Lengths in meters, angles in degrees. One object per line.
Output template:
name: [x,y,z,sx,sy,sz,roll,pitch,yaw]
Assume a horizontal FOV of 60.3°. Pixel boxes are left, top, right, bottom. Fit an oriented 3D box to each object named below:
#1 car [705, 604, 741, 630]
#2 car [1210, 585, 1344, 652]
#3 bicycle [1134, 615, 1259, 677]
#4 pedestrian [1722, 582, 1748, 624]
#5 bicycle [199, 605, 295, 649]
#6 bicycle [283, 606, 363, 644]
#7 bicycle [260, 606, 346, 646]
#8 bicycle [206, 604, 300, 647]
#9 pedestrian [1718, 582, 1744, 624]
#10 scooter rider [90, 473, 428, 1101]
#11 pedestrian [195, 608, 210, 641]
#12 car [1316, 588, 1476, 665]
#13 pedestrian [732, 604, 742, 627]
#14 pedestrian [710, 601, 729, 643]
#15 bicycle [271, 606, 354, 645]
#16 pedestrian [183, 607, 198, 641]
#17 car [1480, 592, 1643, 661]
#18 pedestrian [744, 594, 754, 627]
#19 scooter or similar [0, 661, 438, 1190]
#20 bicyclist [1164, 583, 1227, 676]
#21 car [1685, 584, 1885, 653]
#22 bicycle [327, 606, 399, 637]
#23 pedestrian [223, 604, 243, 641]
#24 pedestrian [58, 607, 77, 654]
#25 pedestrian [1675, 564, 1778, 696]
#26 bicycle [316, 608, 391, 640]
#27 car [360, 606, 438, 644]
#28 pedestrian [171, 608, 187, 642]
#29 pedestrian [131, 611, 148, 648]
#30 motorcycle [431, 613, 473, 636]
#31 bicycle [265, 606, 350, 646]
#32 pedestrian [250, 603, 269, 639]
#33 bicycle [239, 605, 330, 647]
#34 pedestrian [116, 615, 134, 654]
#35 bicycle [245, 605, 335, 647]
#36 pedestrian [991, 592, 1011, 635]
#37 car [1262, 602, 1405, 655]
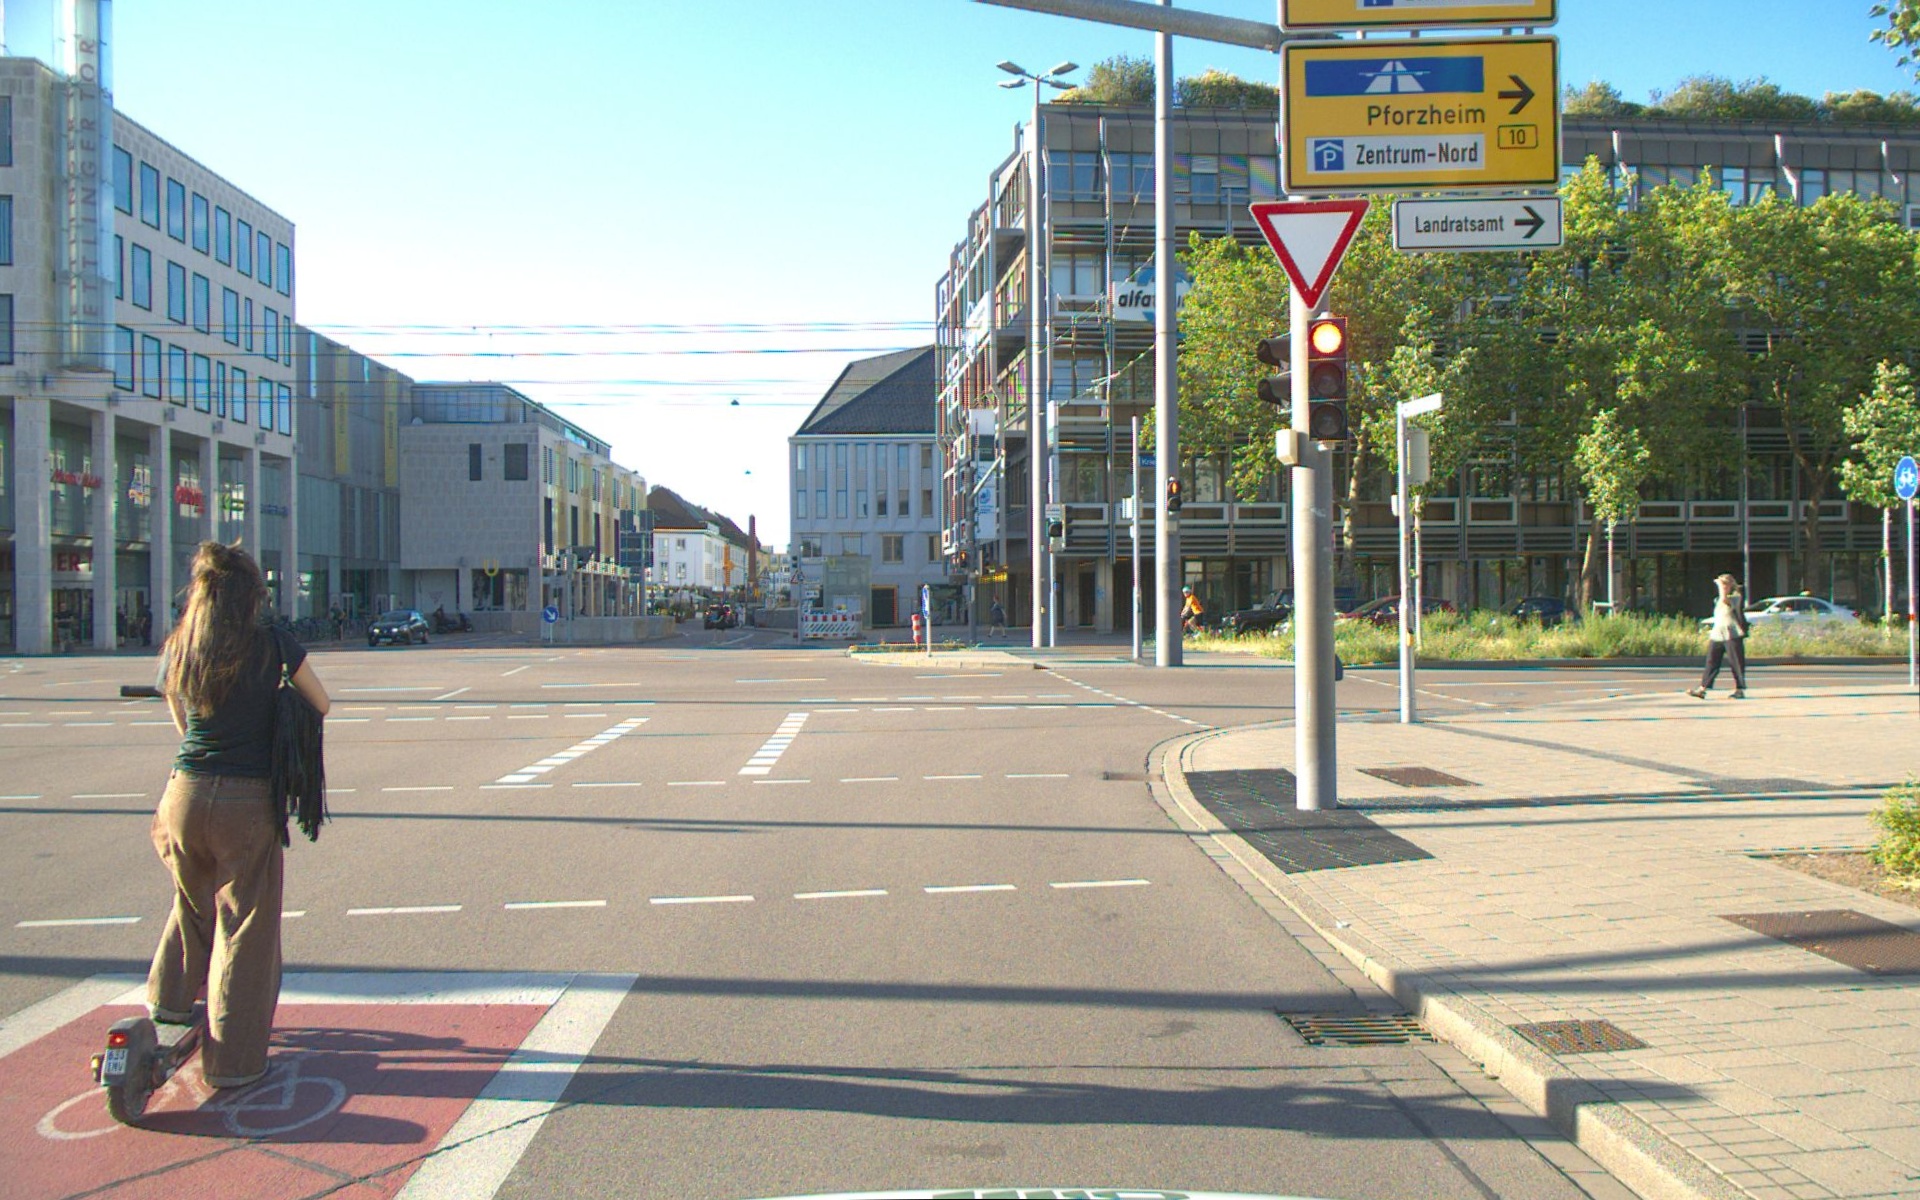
car: [-15.497,1.091,108.160,2.157,1.635,4.320,-1,0,-6]
car: [10.305,0.597,53.917,3.908,2.049,1.999,1,0,-3]
bicycle: [6.749,1.301,47.220,3.427,1.688,0.929,-1,0,-10]
pedestrian: [31.134,0.122,66.471,0.651,1.687,0.740,-1,0,-8]
bicycle: [-29.321,1.110,68.029,3.427,1.726,1.114,-1,0,-10]
bicycle: [-30.337,1.184,78.864,3.430,1.726,0.984,-1,0,-12]
bicycle: [-29.573,1.165,74.490,3.430,1.726,0.984,-1,0,-12]
bicycle: [-29.548,1.063,69.185,3.427,1.726,1.114,-1,0,-10]
pedestrian: [31.345,0.129,67.240,0.651,1.687,0.740,-1,0,-8]
scooter rider: [-2.149,0.536,5.169,0.713,1.806,0.811,0,0,-1]
pedestrian: [-36.355,1.172,79.395,0.472,1.613,0.598,-1,0,-5]
car: [12.232,0.733,46.576,3.908,2.049,1.999,1,0,-3]
pedestrian: [-13.927,0.989,103.399,0.598,1.436,0.569,-1,0,-7]
pedestrian: [-9.625,0.882,66.194,0.650,1.687,0.755,-1,0,-4]
bicycle: [-30.038,1.175,76.778,3.430,1.726,0.984,-1,0,-12]
pedestrian: [-36.946,1.136,79.380,0.472,1.613,0.598,-1,0,-5]
car: [18.828,0.820,51.878,4.359,2.049,1.998,1,0,-6]
pedestrian: [-13.218,0.670,103.402,0.598,2.049,0.569,-1,0,-7]
scooter or similar: [-2.151,0.827,4.878,0.713,1.223,1.664,0,0,-1]
bicyclist: [6.719,0.832,47.221,1.539,2.625,0.930,-1,0,-10]
car: [26.173,0.578,52.574,5.332,2.049,2.096,1,0,-3]
bicycle: [-31.072,1.116,86.124,3.430,1.554,0.984,-1,0,-12]
pedestrian: [-33.874,1.043,77.070,0.777,1.671,0.687,-1,0,-33]
pedestrian: [-31.674,1.081,58.717,0.535,1.671,0.544,-1,0,-33]
pedestrian: [9.922,0.378,21.420,0.787,1.658,0.939,-1,0,-14]
bicycle: [-30.884,1.208,84.263,3.430,1.554,0.984,-1,0,-12]
car: [-23.518,1.037,69.525,1.953,1.512,3.999,-1,0,-1]
pedestrian: [-35.736,1.131,75.679,0.472,1.537,0.513,-1,0,-5]
pedestrian: [-34.884,1.244,70.337,0.472,1.537,0.513,-1,0,-5]
motorcycle: [-29.954,1.430,97.591,2.230,1.341,0.719,-1,0,-6]
bicycle: [-29.797,1.174,75.578,3.430,1.726,0.984,-1,0,-12]
pedestrian: [-33.116,0.979,78.178,0.641,1.671,0.693,-1,0,-9]
bicycle: [-28.867,1.084,70.709,3.427,1.726,1.114,-1,0,-10]
pedestrian: [-35.134,1.463,69.589,0.472,1.613,0.513,-1,0,-5]
bicycle: [-29.098,1.120,71.922,3.427,1.726,1.114,-1,0,-10]
pedestrian: [1.619,0.533,65.370,0.715,1.687,0.649,-1,0,-8]
car: [11.441,0.863,50.814,3.908,1.534,1.867,1,0,-4]
